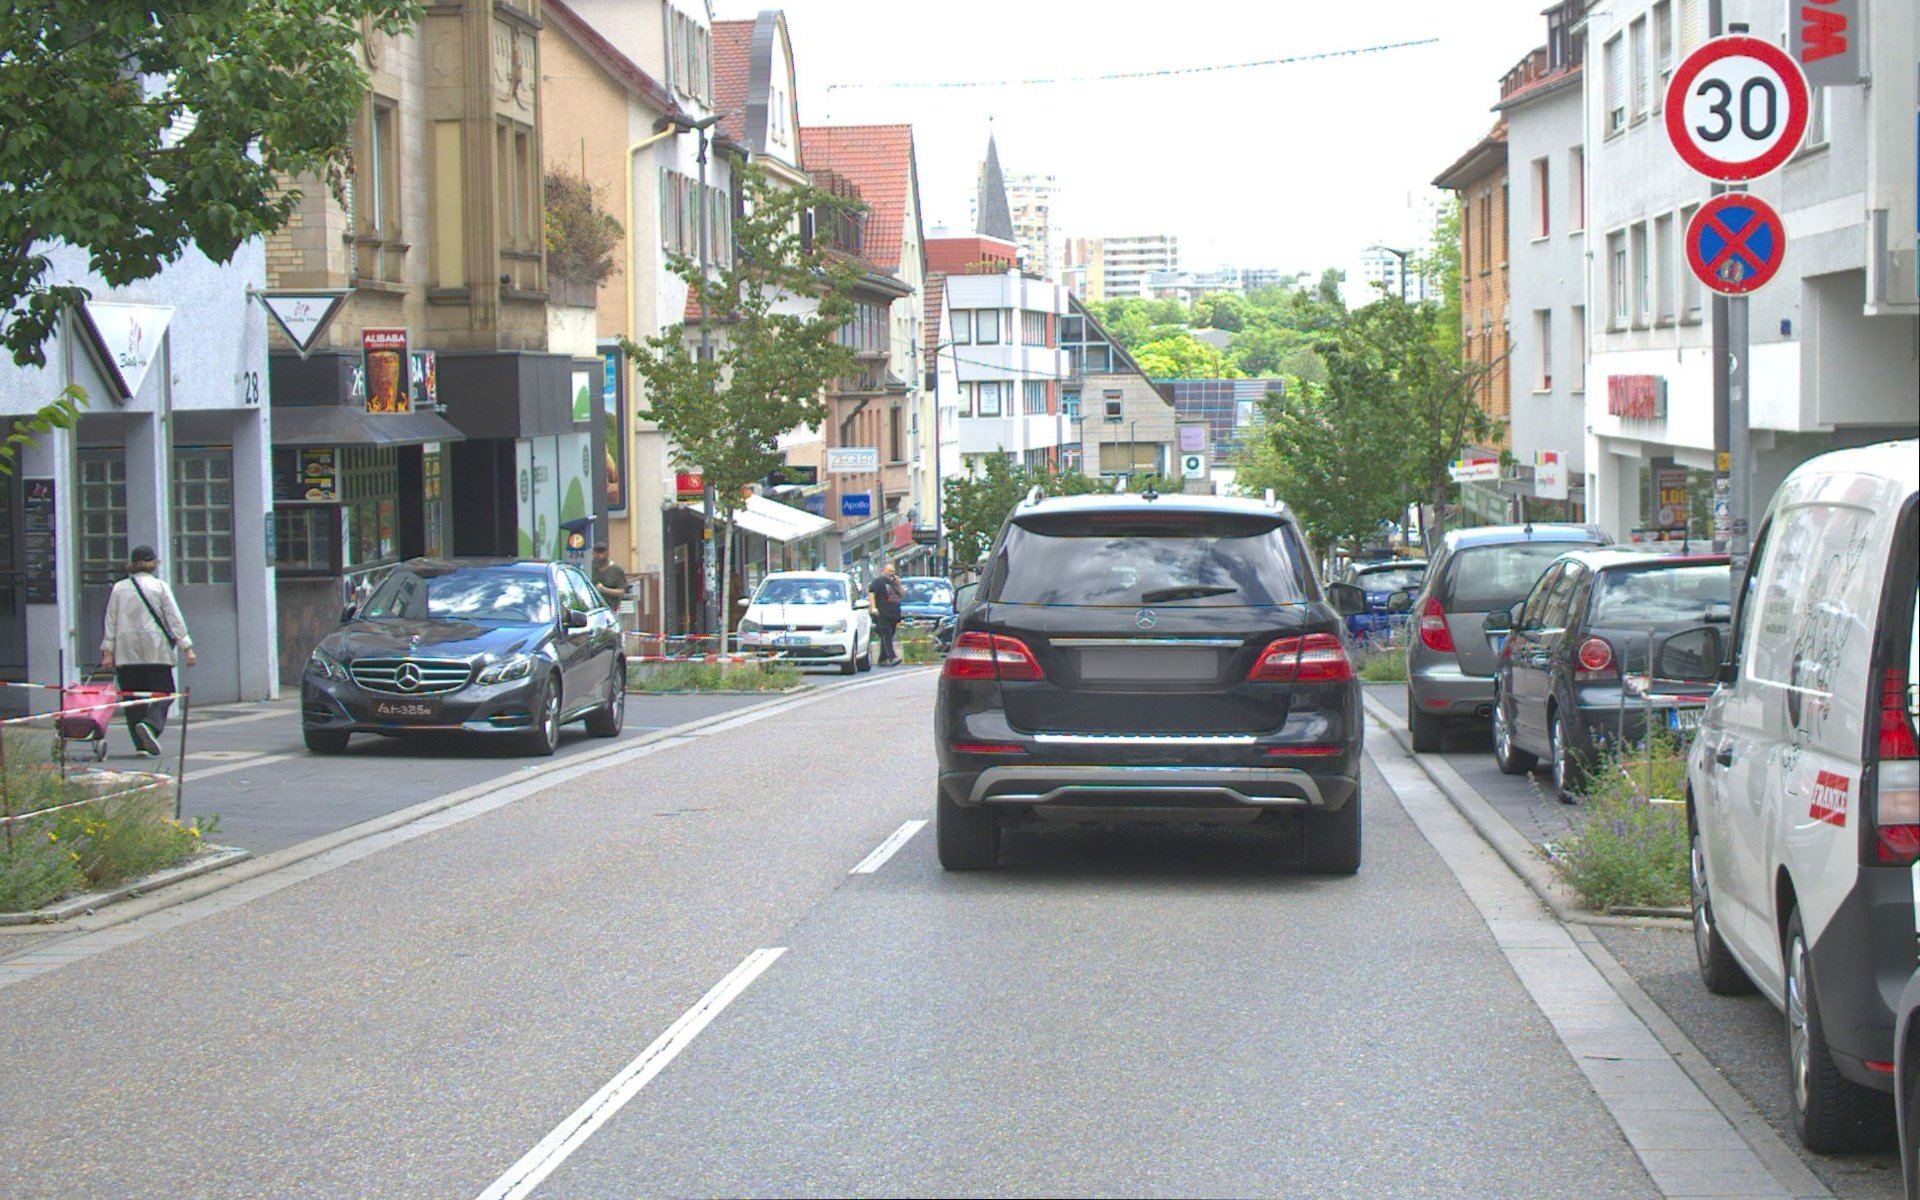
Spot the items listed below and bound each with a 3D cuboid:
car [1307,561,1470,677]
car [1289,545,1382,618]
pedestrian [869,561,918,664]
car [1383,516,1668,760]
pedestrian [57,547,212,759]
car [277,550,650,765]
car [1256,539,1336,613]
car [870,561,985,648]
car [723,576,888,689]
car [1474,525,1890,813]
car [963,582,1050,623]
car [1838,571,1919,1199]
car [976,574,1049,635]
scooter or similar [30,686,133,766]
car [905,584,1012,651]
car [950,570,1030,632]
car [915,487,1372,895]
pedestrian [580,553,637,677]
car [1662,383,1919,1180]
[{"bbox_3d":[6.061,0.300,48.974,1.748,1.493,3.800,-3,-1,0],"label":"car"},{"bbox_3d":[8.276,-0.417,76.092,1.748,1.460,4.074,-4,0,4],"label":"car"},{"bbox_3d":[-1.090,0.197,56.322,0.737,1.666,0.863,-1,0,2],"label":"pedestrian"},{"bbox_3d":[4.120,0.247,25.542,1.748,1.602,3.799,-2,0,5],"label":"car"},{"bbox_3d":[-5.837,0.367,24.345,0.826,1.458,0.810,1,0,4],"label":"pedestrian"},{"bbox_3d":[-3.760,0.386,26.918,1.927,1.487,4.842,1,1,3],"label":"car"},{"bbox_3d":[9.105,-0.654,93.489,1.938,1.885,4.706,-3,0,4],"label":"car"},{"bbox_3d":[-0.593,0.105,66.757,1.927,1.616,4.639,1,0,3],"label":"car"},{"bbox_3d":[-2.173,0.434,49.576,1.927,1.506,4.261,1,1,3],"label":"car"},{"bbox_3d":[4.233,0.368,20.721,1.748,1.503,3.874,-2,0,2],"label":"car"},{"bbox_3d":[2.212,0.139,163.306,3.987,1.744,2.000,-3,0,1],"label":"car"},{"bbox_3d":[2.536,0.673,4.767,1.703,1.462,4.000,-2,0,2],"label":"car"},{"bbox_3d":[1.477,0.113,95.388,1.926,1.590,4.458,1,1,1],"label":"car"},{"bbox_3d":[-6.038,0.864,23.644,0.525,0.517,0.573,1,0,4],"label":"scooter or similar"},{"bbox_3d":[0.003,0.370,74.516,1.927,1.425,4.261,0,0,5],"label":"car"},{"bbox_3d":[0.785,0.012,88.031,1.926,1.491,4.262,1,1,2],"label":"car"},{"bbox_3d":[0.951,0.356,16.747,1.944,1.734,4.178,0,1,5],"label":"car"},{"bbox_3d":[-4.187,0.173,40.947,0.491,1.458,0.559,1,0,14],"label":"pedestrian"},{"bbox_3d":[3.161,0.376,9.987,1.877,1.793,4.731,-1,1,8],"label":"car"}]
